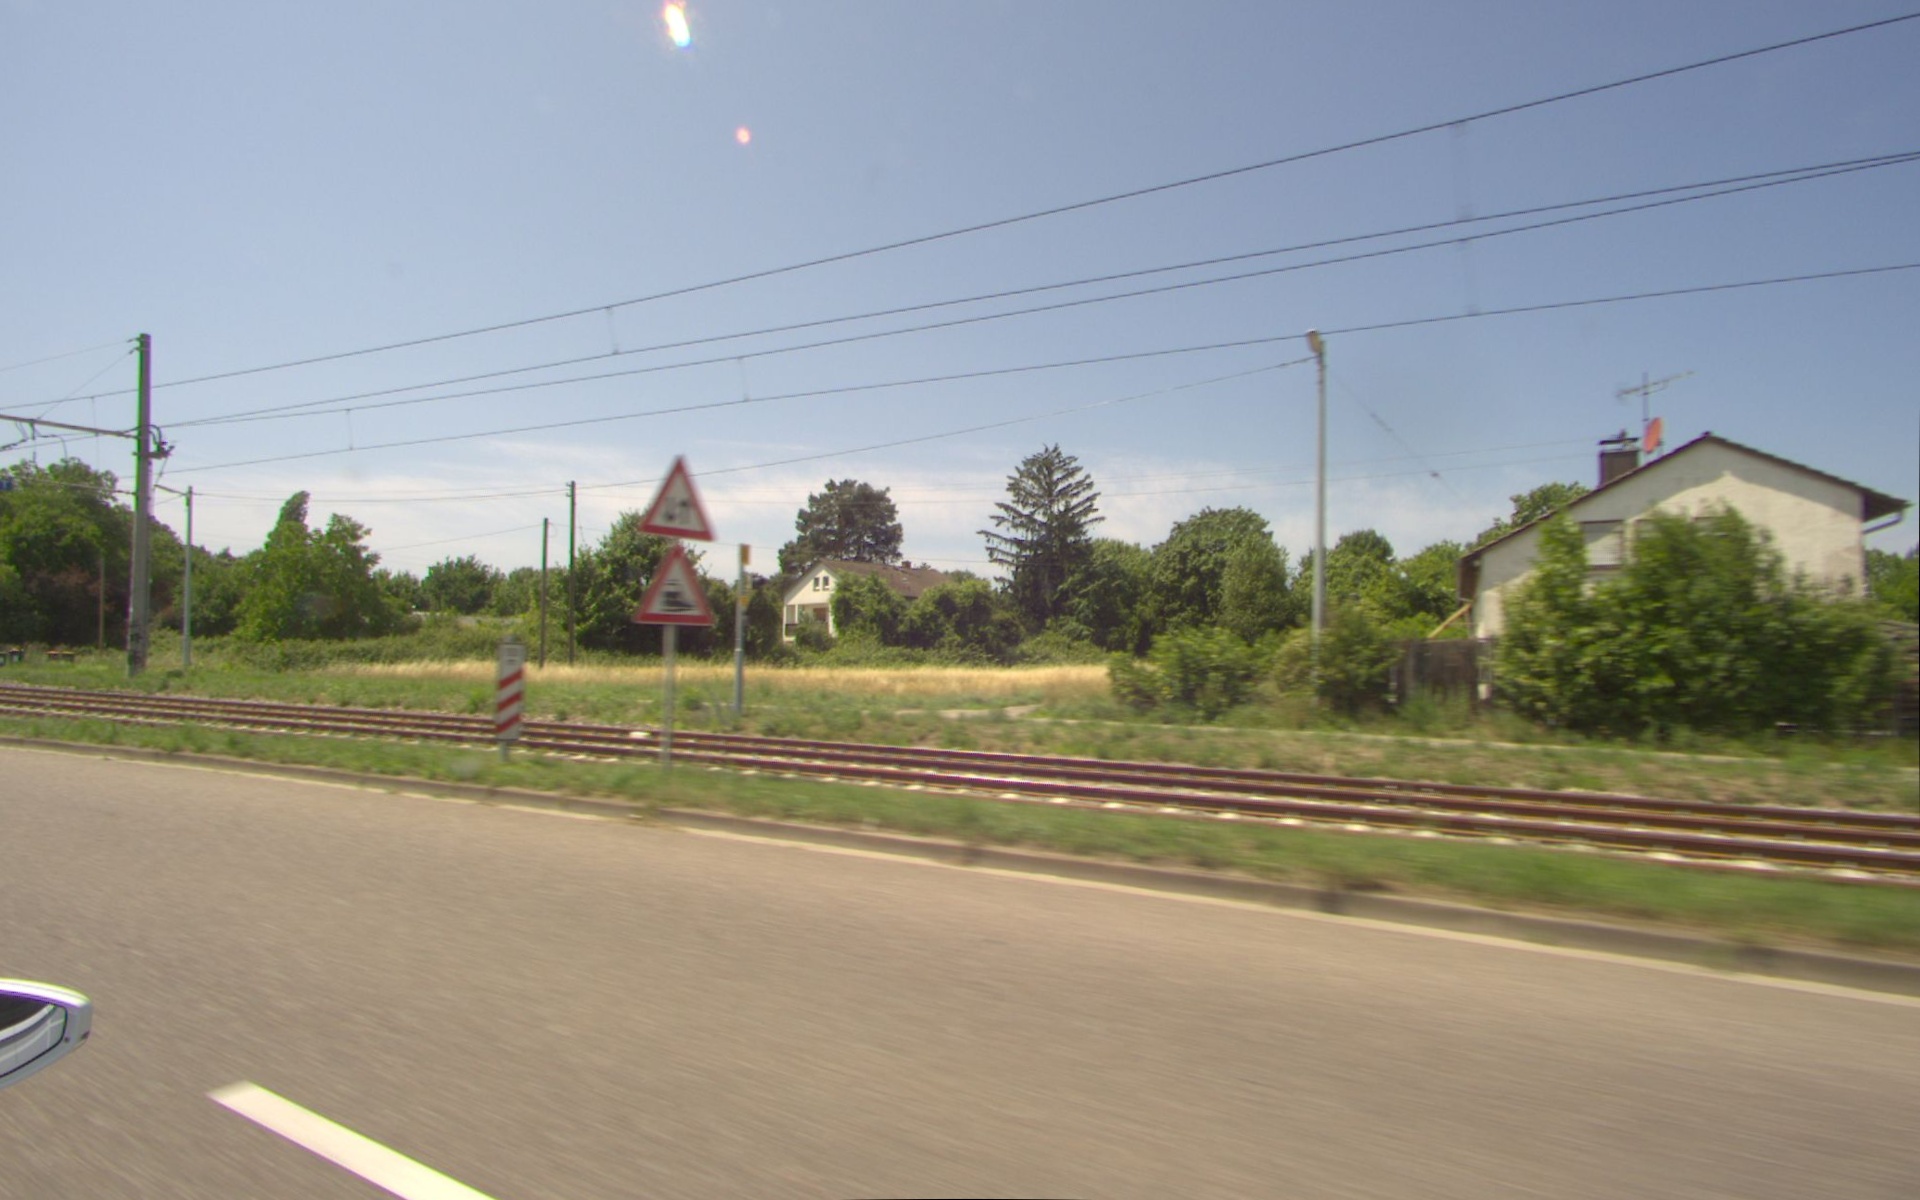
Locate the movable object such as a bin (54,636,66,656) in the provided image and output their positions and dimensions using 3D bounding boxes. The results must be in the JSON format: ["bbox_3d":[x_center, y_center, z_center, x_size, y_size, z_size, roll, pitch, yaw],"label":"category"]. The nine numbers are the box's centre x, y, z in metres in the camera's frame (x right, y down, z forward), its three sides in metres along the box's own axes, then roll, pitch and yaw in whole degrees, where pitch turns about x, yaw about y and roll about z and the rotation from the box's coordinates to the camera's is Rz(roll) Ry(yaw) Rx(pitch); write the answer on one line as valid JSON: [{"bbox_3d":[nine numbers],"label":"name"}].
[{"bbox_3d":[-50.800,2.595,56.524,0.494,1.063,0.446,-1,-3,43],"label":"movable object such as a bin"}]

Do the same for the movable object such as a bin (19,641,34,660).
[{"bbox_3d":[-51.796,2.813,55.535,0.493,1.063,0.522,-1,-3,41],"label":"movable object such as a bin"}]

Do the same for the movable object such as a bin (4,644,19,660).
[{"bbox_3d":[-52.326,2.869,55.258,0.493,0.875,0.522,-1,-3,41],"label":"movable object such as a bin"}]

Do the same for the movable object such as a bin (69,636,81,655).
[{"bbox_3d":[-50.355,2.606,56.973,0.494,1.063,0.446,-1,-3,43],"label":"movable object such as a bin"}]
